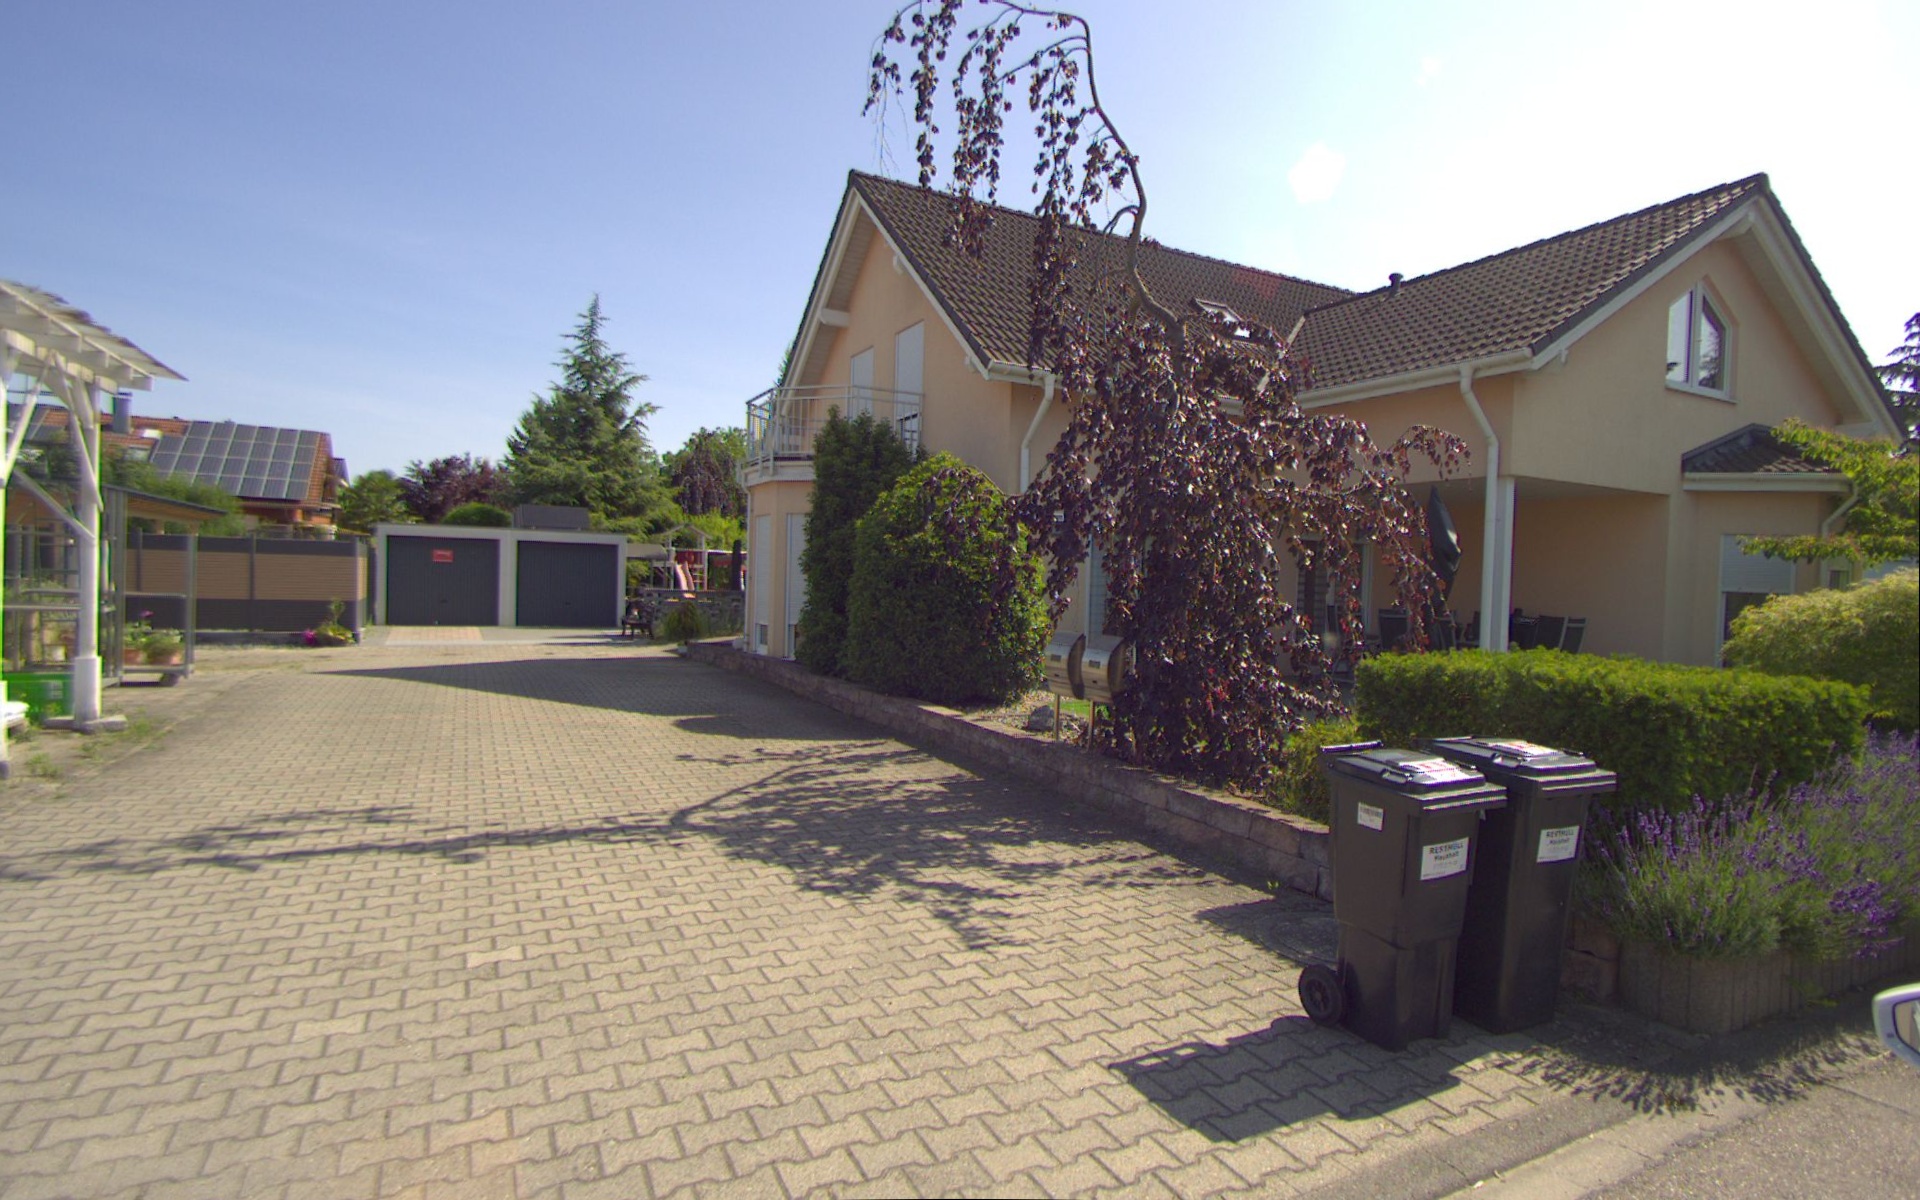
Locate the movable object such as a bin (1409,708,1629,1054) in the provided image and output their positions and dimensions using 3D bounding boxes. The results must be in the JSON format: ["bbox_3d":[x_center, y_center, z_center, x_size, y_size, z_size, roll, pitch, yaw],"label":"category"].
[{"bbox_3d":[1.950,0.933,3.529,0.442,1.038,0.492,1,1,-27],"label":"movable object such as a bin"}]

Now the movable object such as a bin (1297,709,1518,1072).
[{"bbox_3d":[1.493,0.921,3.380,0.442,1.038,0.492,1,1,-27],"label":"movable object such as a bin"}]

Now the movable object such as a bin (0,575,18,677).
[{"bbox_3d":[-10.784,0.268,10.890,0.708,1.082,0.801,1,1,-34],"label":"movable object such as a bin"}]
